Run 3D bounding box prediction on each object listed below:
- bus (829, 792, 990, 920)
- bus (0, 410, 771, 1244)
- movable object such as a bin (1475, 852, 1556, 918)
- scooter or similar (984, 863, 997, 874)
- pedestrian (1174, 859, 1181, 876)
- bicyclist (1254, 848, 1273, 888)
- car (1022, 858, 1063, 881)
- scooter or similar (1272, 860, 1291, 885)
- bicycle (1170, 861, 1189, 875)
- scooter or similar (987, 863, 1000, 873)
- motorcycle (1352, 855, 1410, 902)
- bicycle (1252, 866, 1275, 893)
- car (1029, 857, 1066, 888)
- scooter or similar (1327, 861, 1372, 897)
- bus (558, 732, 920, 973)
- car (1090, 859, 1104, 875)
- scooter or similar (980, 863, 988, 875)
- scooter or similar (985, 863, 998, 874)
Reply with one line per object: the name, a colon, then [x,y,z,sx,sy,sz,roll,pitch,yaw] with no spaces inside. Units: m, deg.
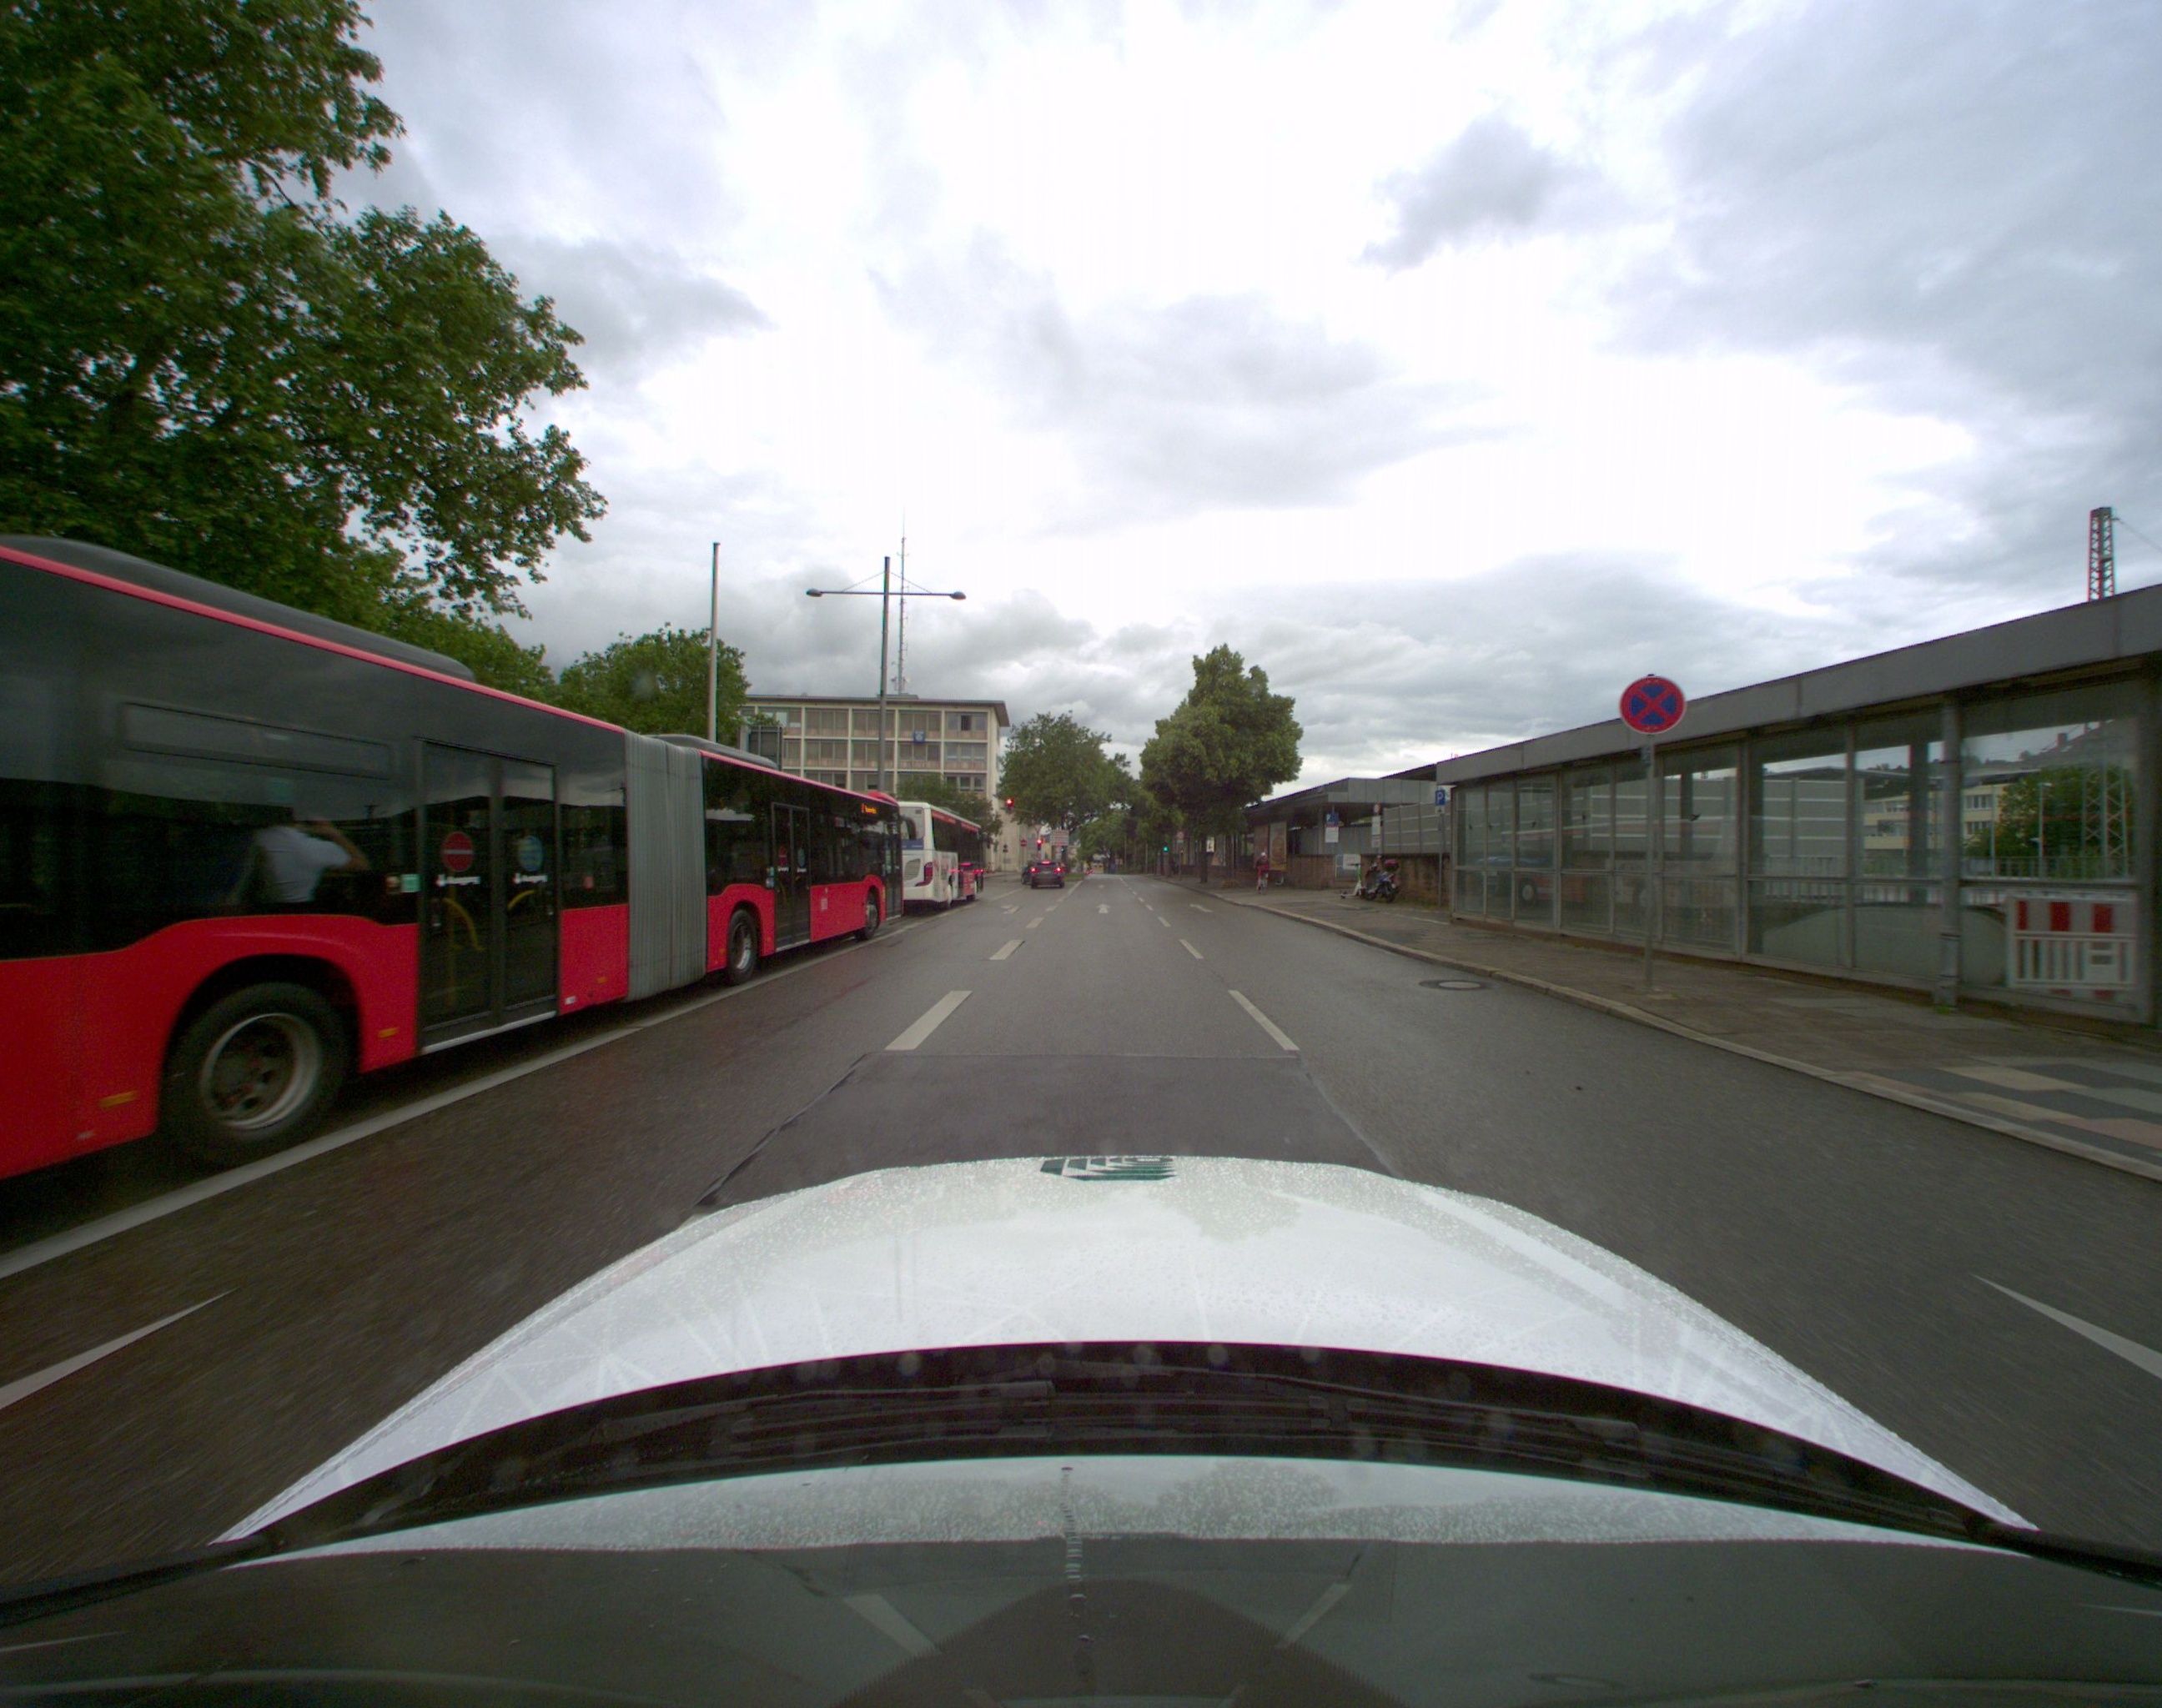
bus: [-5.330,0.099,28.288,2.946,3.439,12.556,-1,0,0]
bus: [-5.571,-0.083,5.784,2.800,3.246,9.913,-1,0,1]
movable object such as a bin: [9.327,0.645,17.535,1.031,1.338,1.317,-1,-1,-1]
scooter or similar: [-10.212,1.626,91.897,0.601,1.192,1.538,-1,-1,34]
pedestrian: [8.664,1.214,73.356,0.452,1.569,0.395,-1,-1,33]
bicyclist: [7.236,0.556,32.352,0.532,1.538,0.694,-2,-1,-2]
car: [-2.595,1.023,54.124,1.819,1.409,4.391,-1,-1,-15]
scooter or similar: [9.763,0.898,39.668,0.491,1.153,1.544,-1,-1,-2]
bicycle: [8.909,1.290,73.713,1.703,1.249,0.489,-1,-1,32]
scooter or similar: [-10.006,1.632,93.375,0.601,1.164,1.538,-1,-1,34]
motorcycle: [9.036,0.707,24.611,0.789,1.348,2.456,-1,0,-1]
bicycle: [7.251,0.987,32.411,0.445,1.016,1.676,-3,-1,-1]
car: [-1.889,1.050,46.905,1.958,1.640,4.357,-1,-1,-1]
scooter or similar: [8.813,0.802,26.800,0.494,1.153,1.704,0,-1,-19]
bus: [-5.379,0.000,15.145,2.742,3.132,8.845,-1,0,2]
car: [2.741,2.158,139.650,2.257,2.656,3.998,-1,0,-1]
scooter or similar: [-10.329,1.578,86.802,0.567,1.192,1.576,-1,-1,4]
scooter or similar: [-9.929,1.634,90.734,0.601,1.192,1.538,-1,-1,34]
